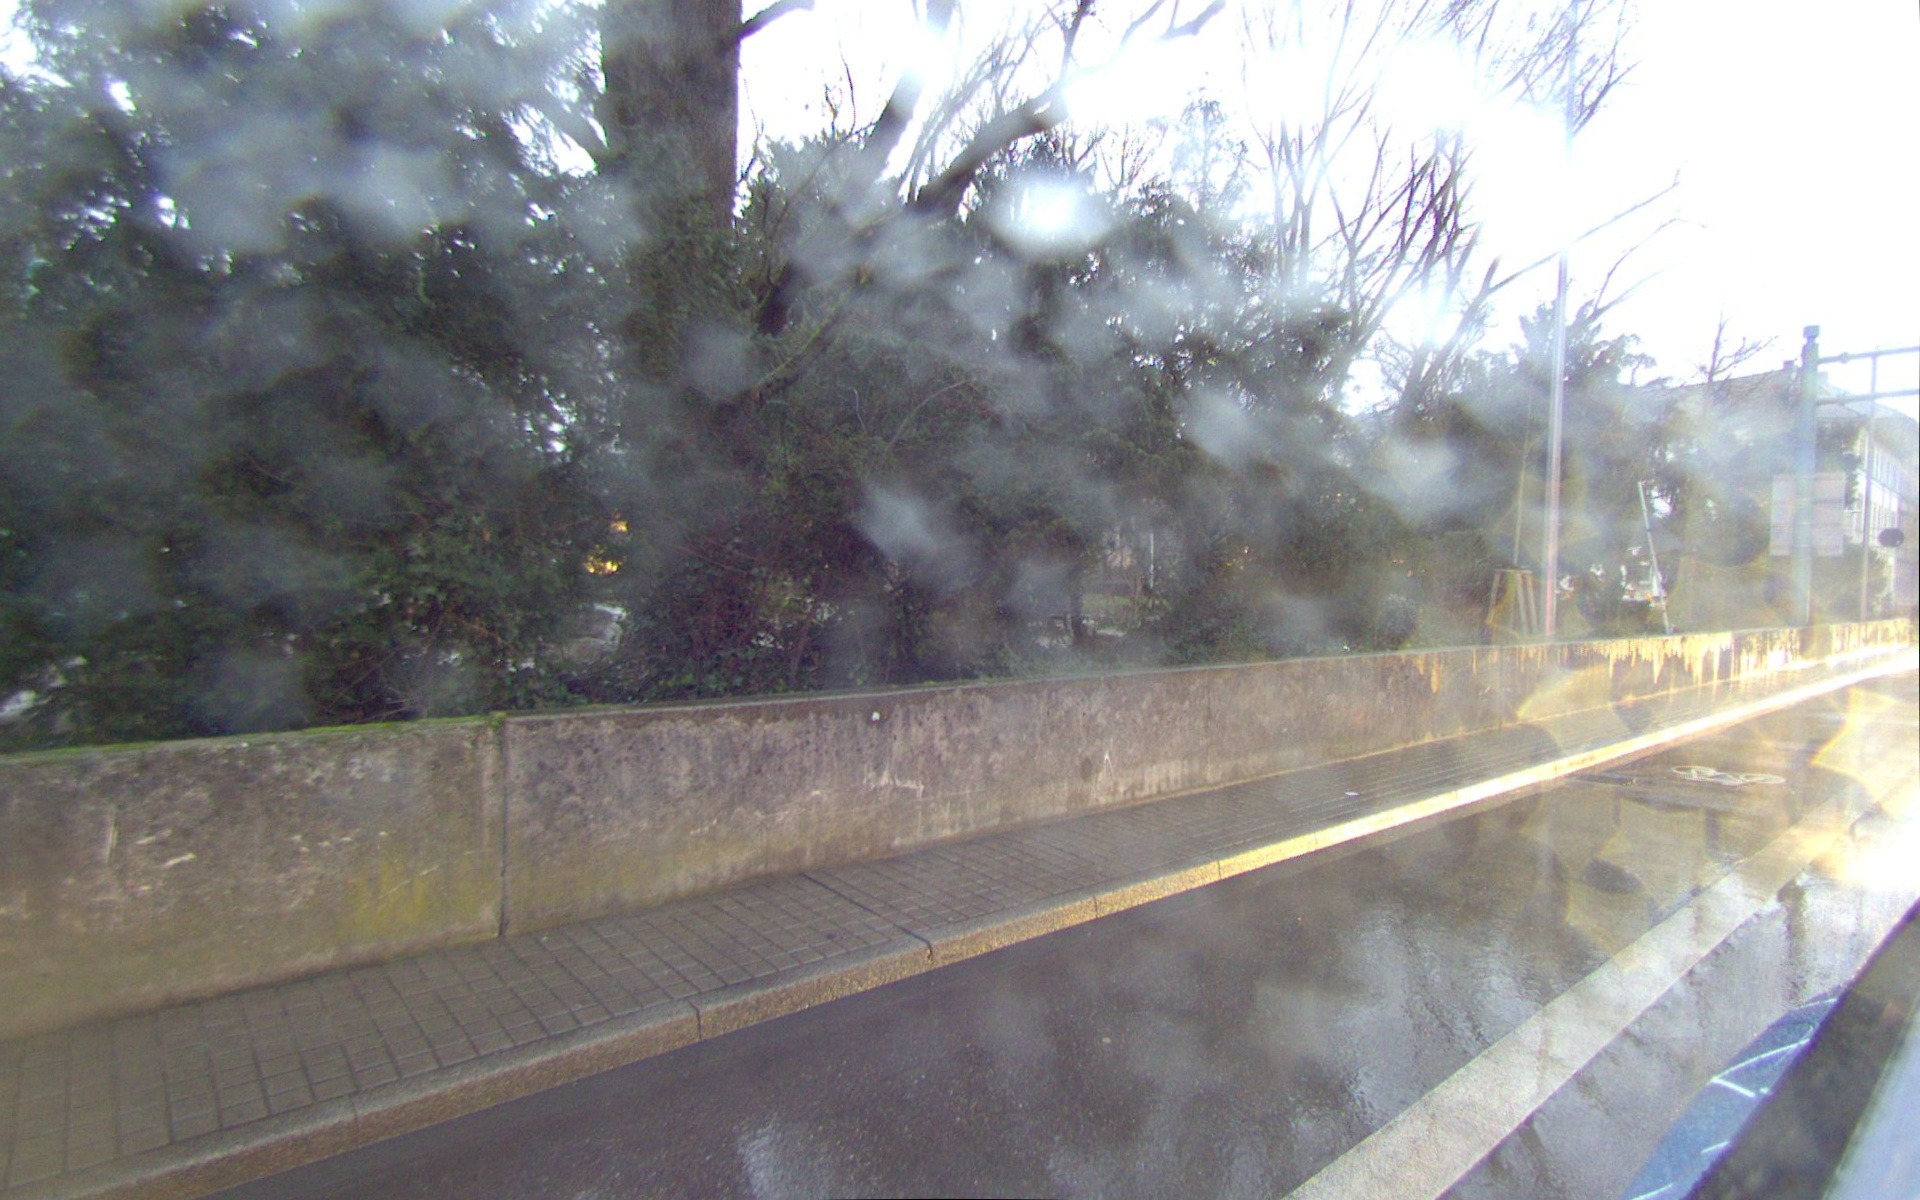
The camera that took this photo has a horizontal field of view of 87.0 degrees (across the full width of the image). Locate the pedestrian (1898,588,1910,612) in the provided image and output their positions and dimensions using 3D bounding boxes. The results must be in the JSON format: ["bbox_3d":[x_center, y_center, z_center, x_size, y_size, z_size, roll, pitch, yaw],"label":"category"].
[{"bbox_3d":[63.176,-0.006,67.727,0.577,1.529,0.520,1,2,-41],"label":"pedestrian"}]
